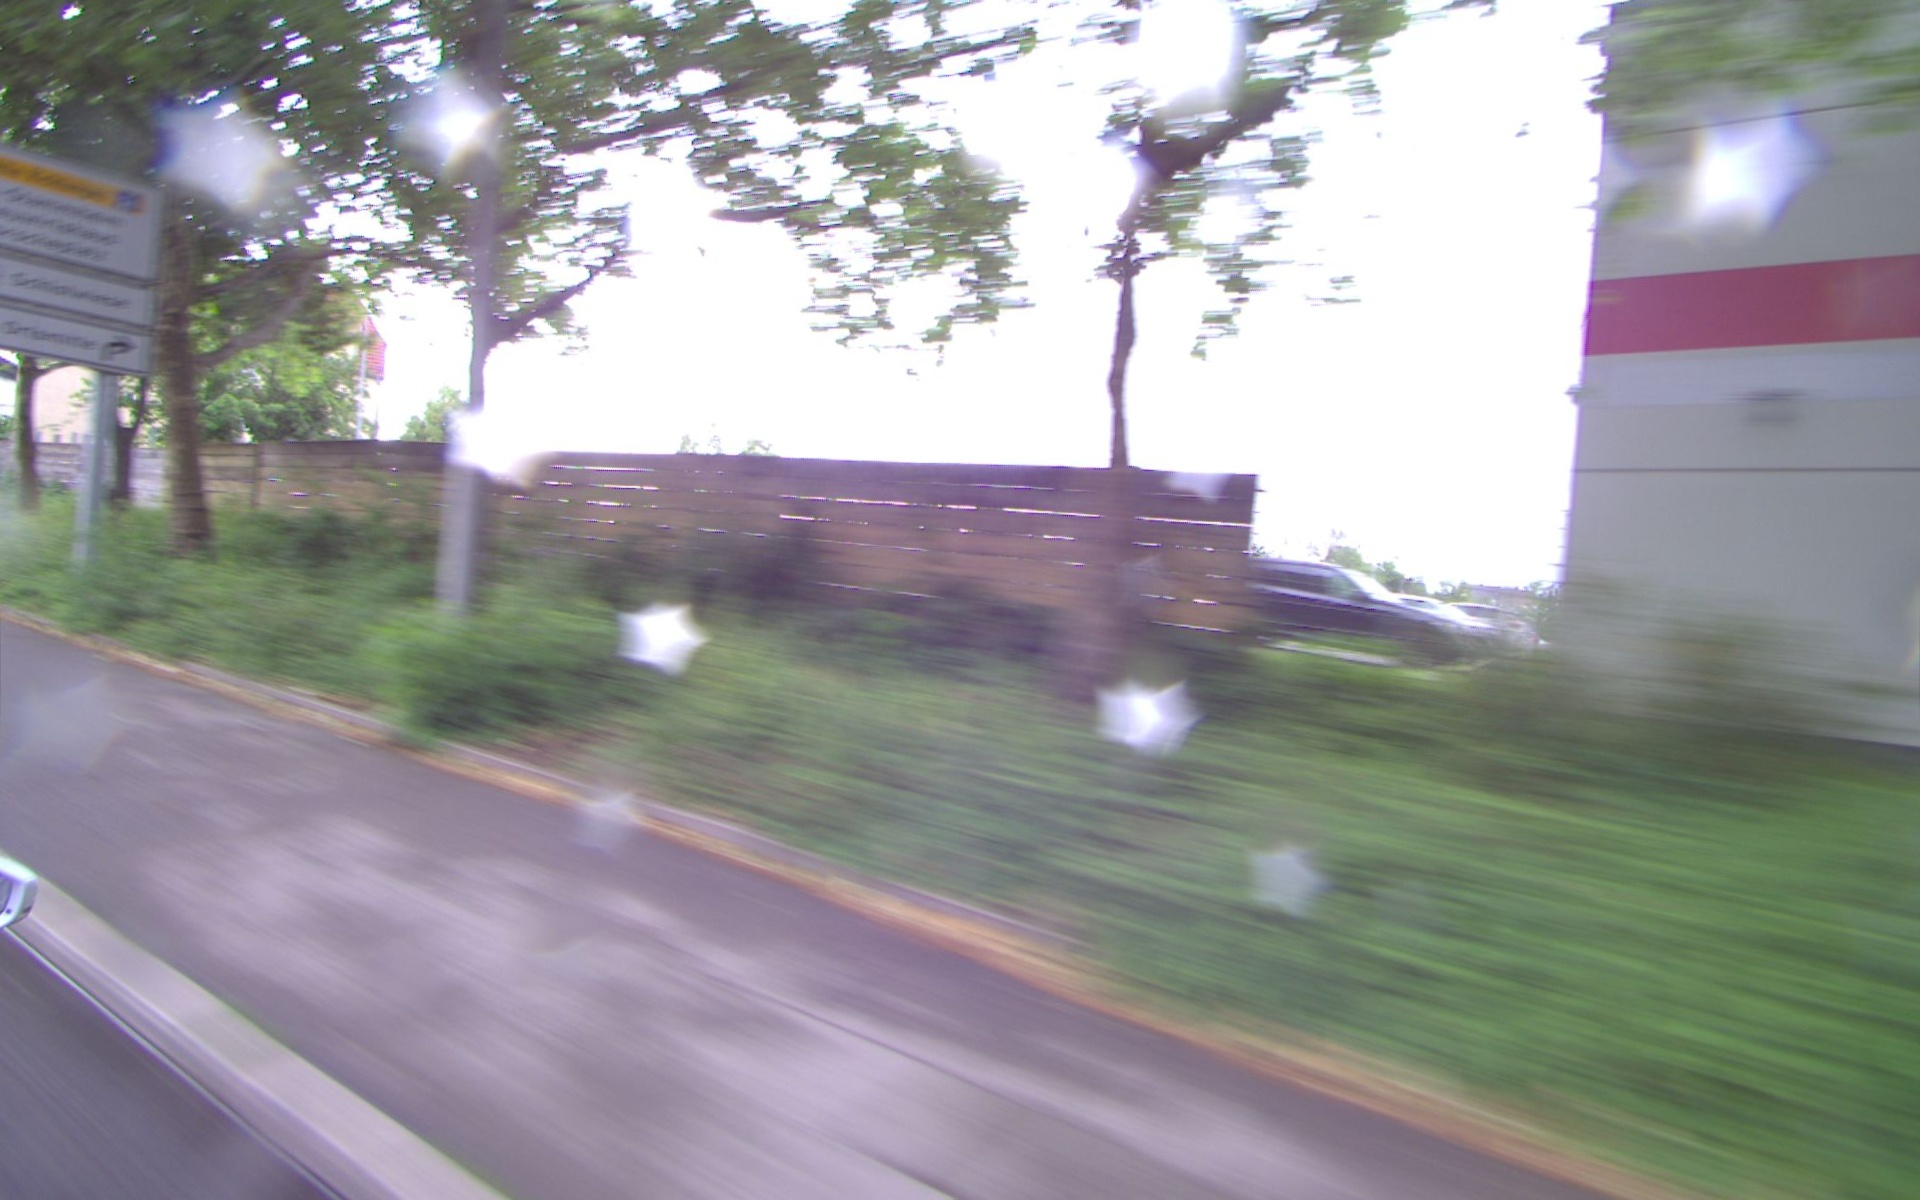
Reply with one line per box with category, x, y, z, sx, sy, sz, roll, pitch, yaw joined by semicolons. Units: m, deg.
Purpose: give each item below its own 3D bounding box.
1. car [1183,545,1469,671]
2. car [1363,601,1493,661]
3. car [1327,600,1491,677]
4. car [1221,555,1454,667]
car;6.245;0.119;17.291;4.224;1.615;1.797;7;0;31
car;16.442;1.088;35.365;3.821;1.615;1.797;7;0;31
car;12.413;1.063;27.878;3.821;1.615;1.797;7;0;31
car;7.449;0.210;19.868;3.933;1.758;1.998;4;-3;30
